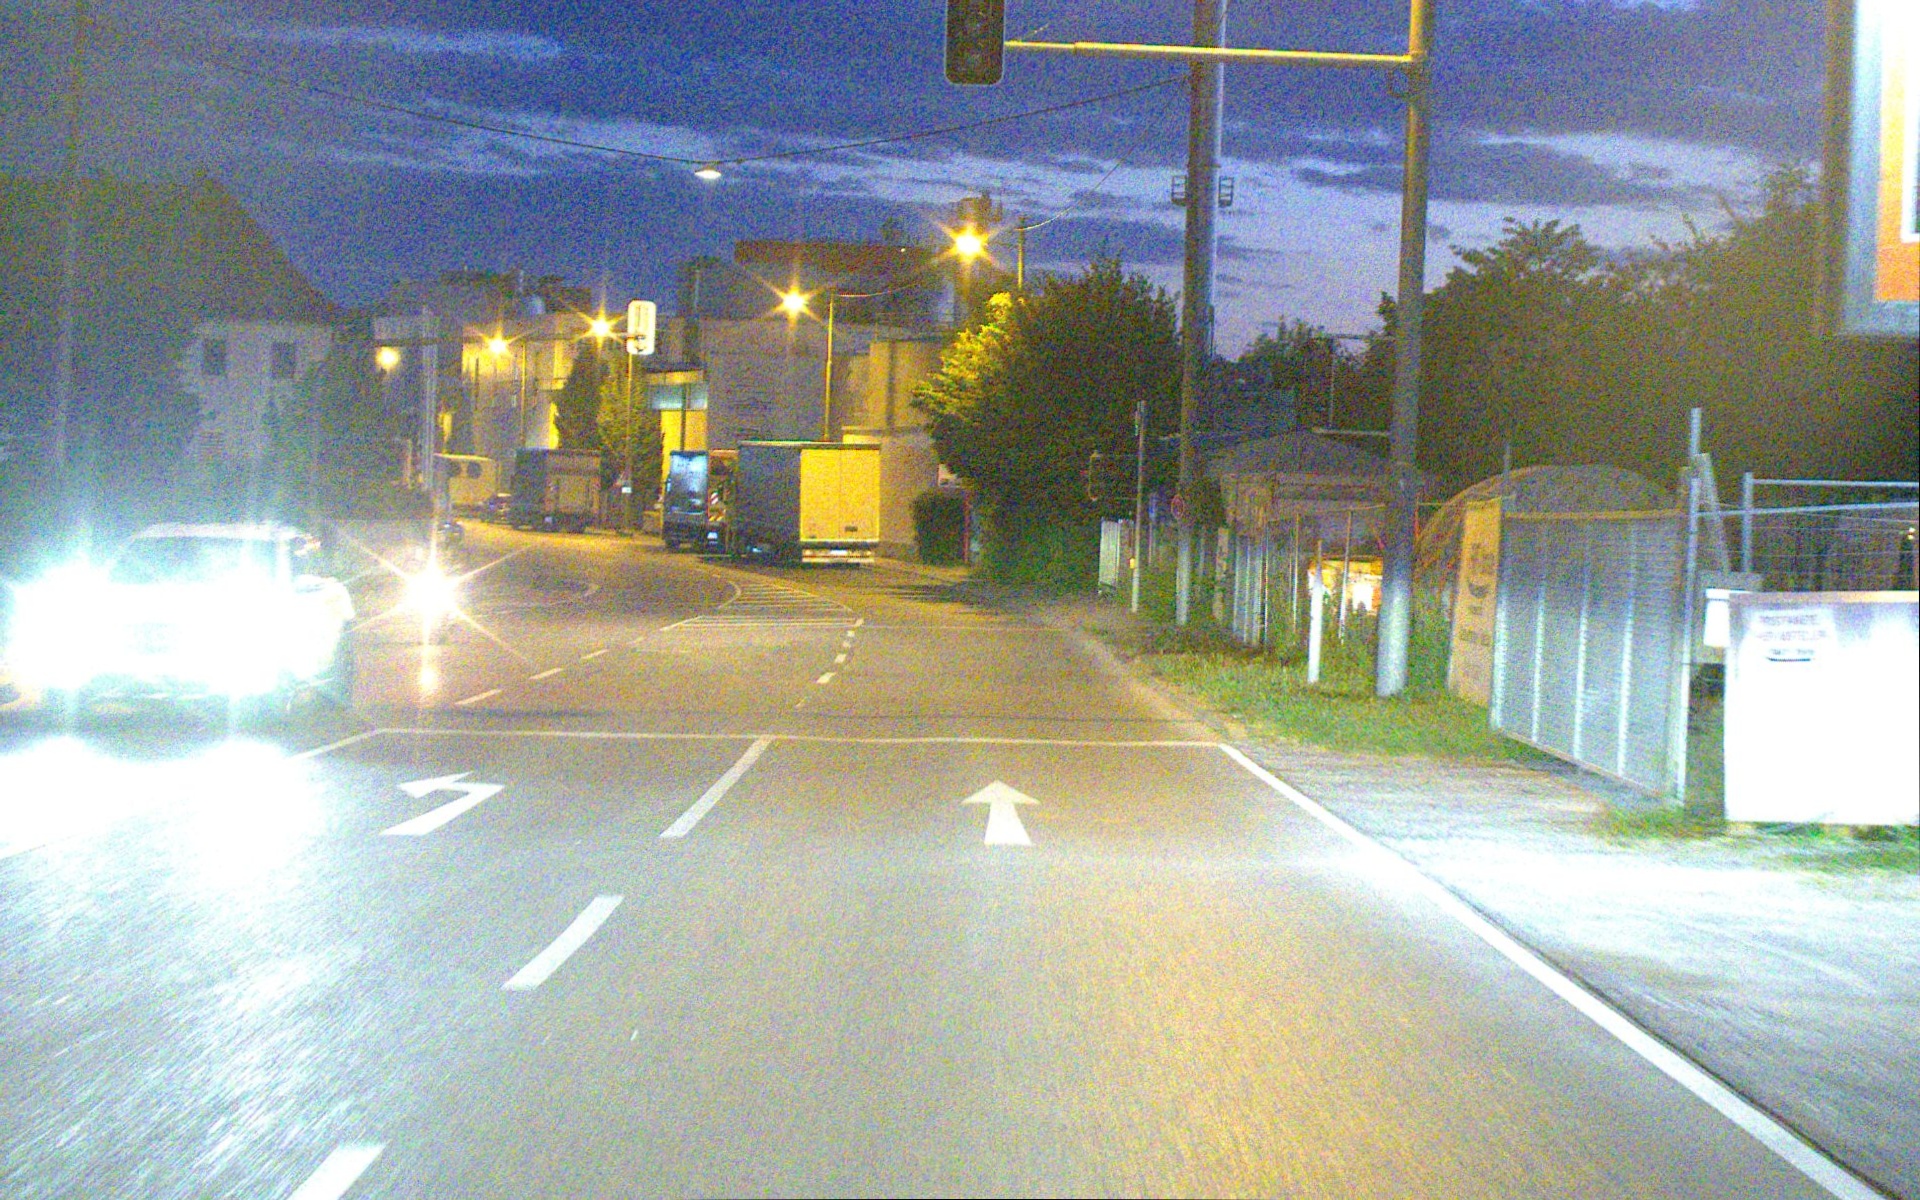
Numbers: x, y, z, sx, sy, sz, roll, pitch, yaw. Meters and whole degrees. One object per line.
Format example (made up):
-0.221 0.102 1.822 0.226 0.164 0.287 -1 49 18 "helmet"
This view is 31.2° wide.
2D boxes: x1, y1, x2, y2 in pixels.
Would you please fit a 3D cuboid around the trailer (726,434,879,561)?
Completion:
-5.408 -3.493 114.822 2.808 3.969 13.980 0 2 -12 "trailer"

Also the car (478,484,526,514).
-23.856 -5.280 178.979 1.852 1.513 3.820 0 2 -17 "car"

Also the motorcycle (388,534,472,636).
-7.238 -0.222 47.092 0.997 1.300 2.827 2 1 -7 "motorcycle"

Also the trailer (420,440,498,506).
-27.897 -7.086 191.175 2.686 3.452 7.812 2 2 -20 "trailer"

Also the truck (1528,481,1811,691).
9.121 -0.267 44.935 2.183 2.414 7.316 3 2 1 "truck"

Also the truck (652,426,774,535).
-9.542 -4.602 131.715 2.829 3.969 10.346 0 2 -14 "truck"

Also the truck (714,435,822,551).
-6.820 -3.794 121.245 2.829 3.969 6.052 0 2 -12 "truck"

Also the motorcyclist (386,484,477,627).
-7.219 -0.616 47.000 1.133 1.893 0.834 2 1 -7 "motorcyclist"

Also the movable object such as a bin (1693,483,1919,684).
12.351 -0.282 50.067 2.227 2.715 3.866 3 1 -3 "movable object such as a bin"

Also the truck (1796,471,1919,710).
12.270 -0.125 42.651 2.183 2.738 7.315 3 1 3 "truck"

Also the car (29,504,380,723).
-6.261 0.054 29.044 1.993 1.621 4.753 2 1 -2 "car"

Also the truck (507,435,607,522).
-19.340 -5.823 164.386 3.519 3.969 10.346 0 2 -13 "truck"
